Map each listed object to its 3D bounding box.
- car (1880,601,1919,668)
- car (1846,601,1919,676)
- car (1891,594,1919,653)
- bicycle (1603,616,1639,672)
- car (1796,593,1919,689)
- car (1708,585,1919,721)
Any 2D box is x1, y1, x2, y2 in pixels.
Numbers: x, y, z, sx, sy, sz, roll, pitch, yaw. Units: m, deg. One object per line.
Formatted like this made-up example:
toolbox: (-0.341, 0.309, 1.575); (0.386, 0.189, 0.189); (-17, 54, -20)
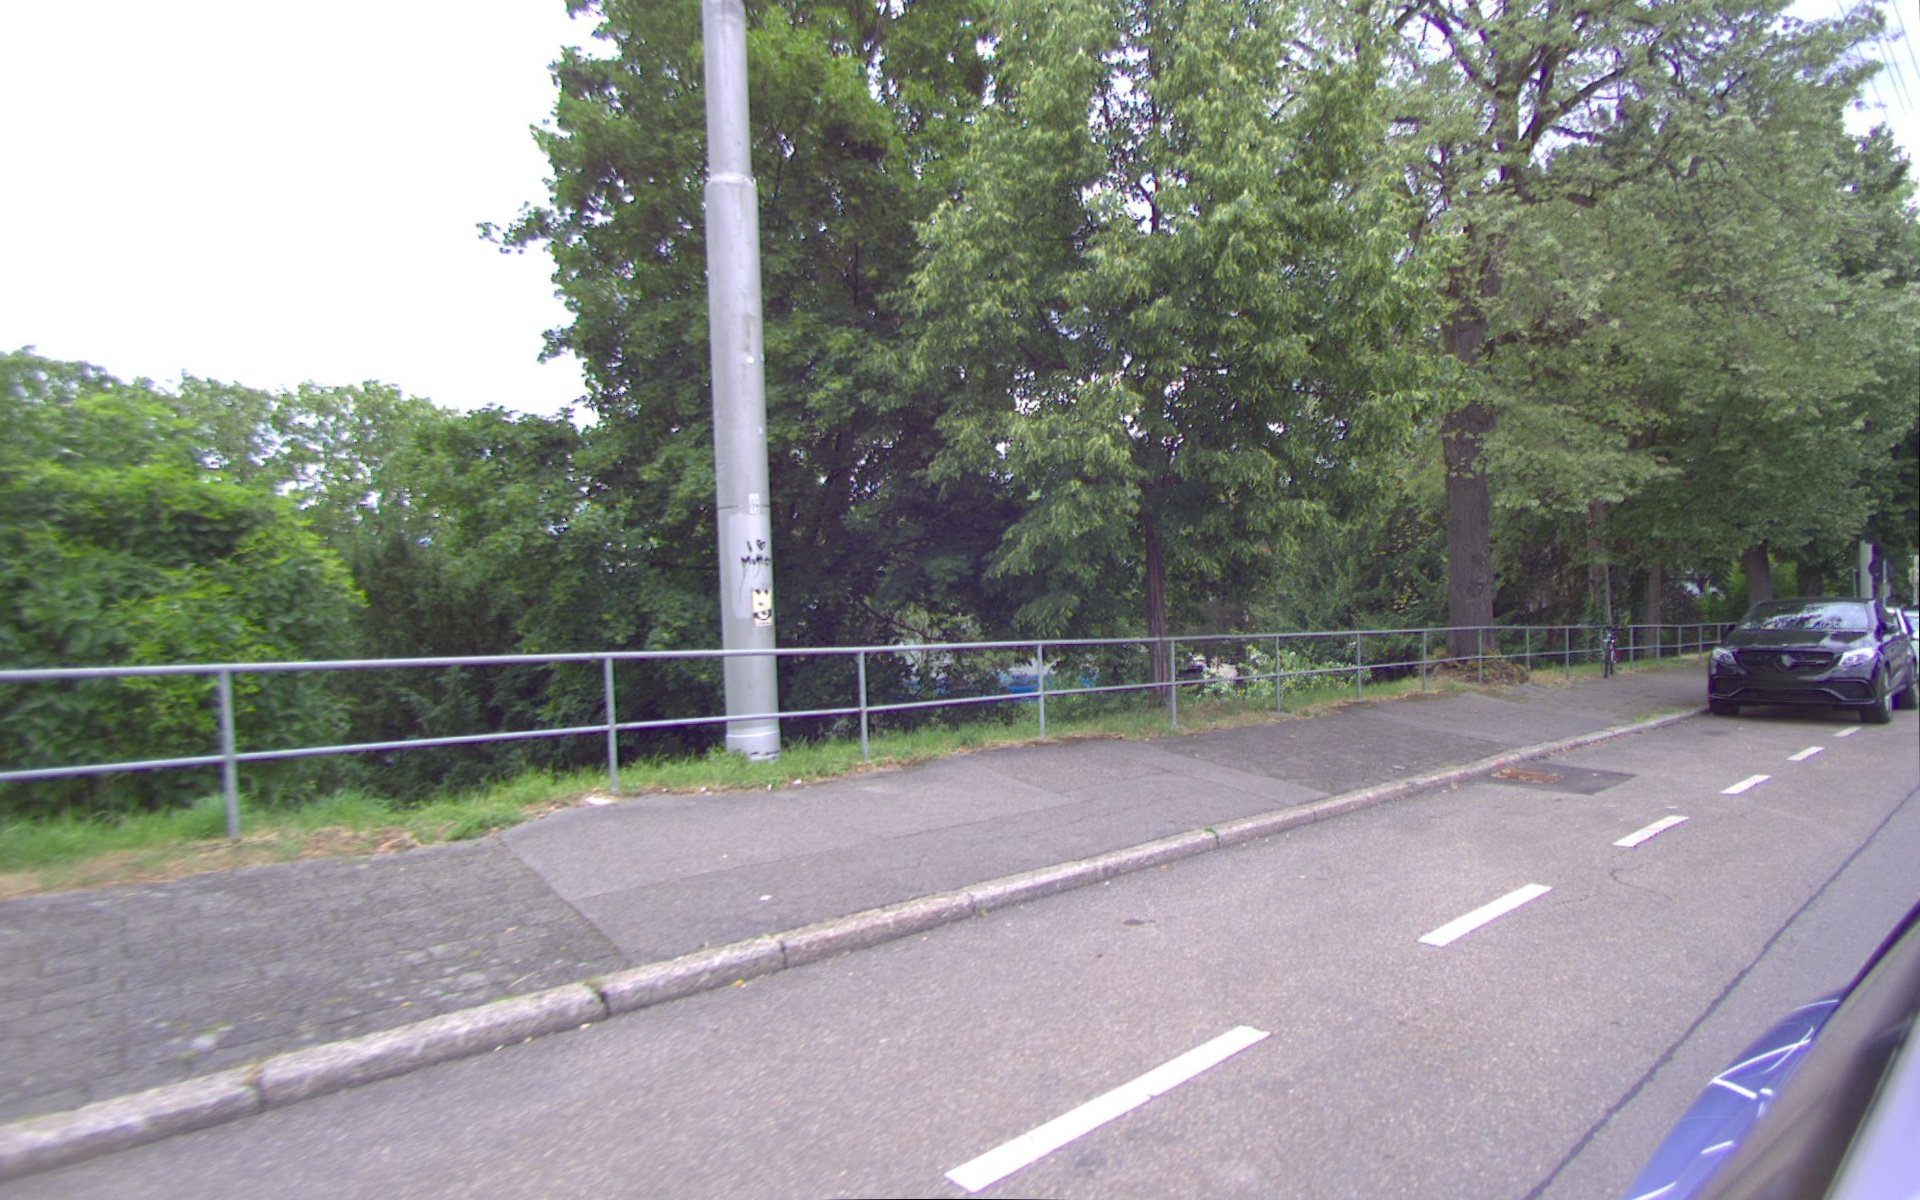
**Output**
car: (25.020, 0.845, 25.918); (4.289, 1.595, 1.736); (0, 0, -42)
car: (21.015, 0.807, 22.450); (3.996, 1.536, 1.630); (0, -2, -43)
car: (28.663, 0.659, 29.345); (4.518, 1.635, 1.908); (0, 0, -40)
bicycle: (12.769, 0.825, 19.527); (0.426, 0.988, 1.770); (0, 1, 39)
car: (17.437, 0.740, 19.293); (4.019, 1.653, 1.727); (0, -3, -43)
car: (12.918, 0.683, 15.003); (4.974, 1.699, 1.880); (0, -1, -41)
